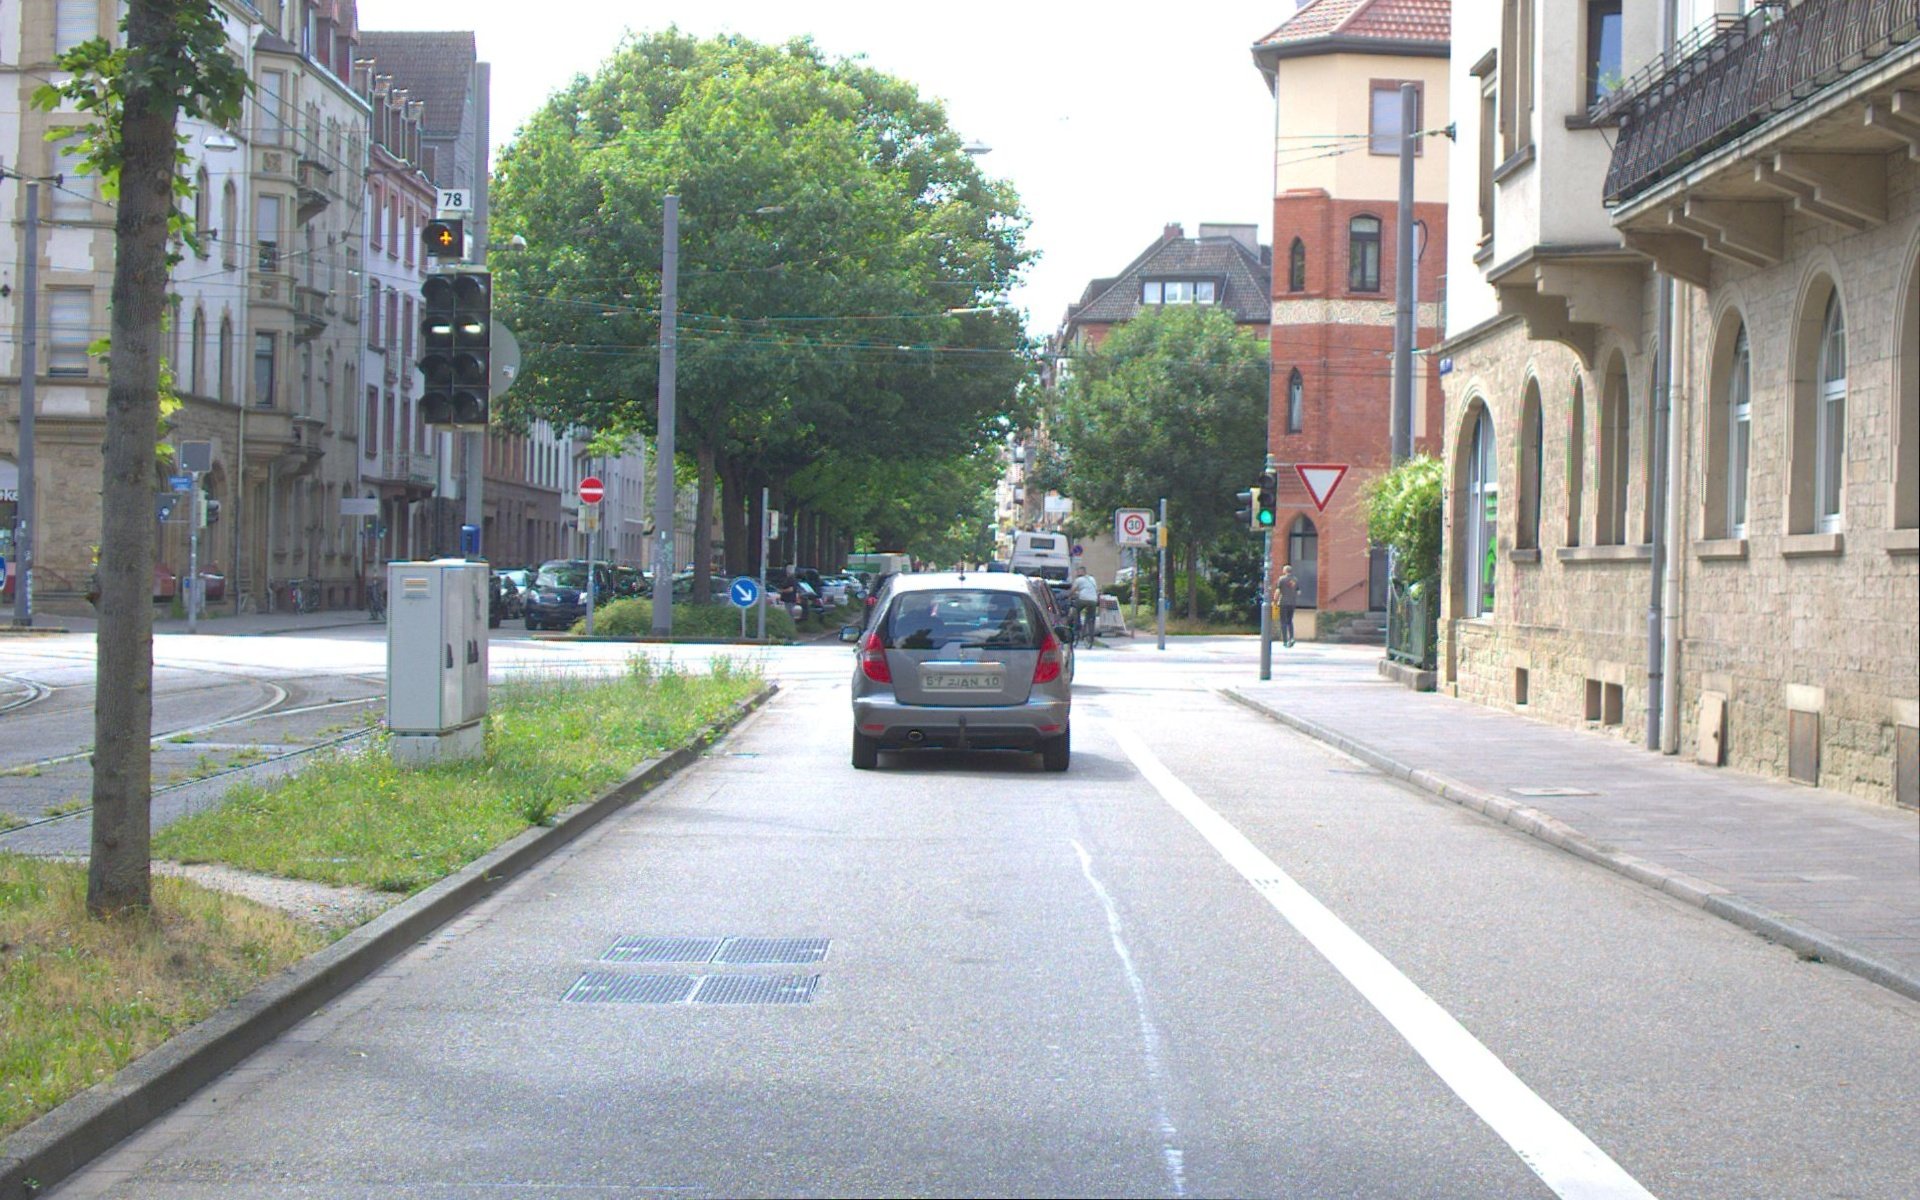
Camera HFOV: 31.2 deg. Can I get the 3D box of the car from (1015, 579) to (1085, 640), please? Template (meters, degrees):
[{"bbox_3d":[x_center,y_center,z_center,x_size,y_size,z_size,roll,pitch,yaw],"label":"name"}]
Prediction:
[{"bbox_3d":[2.500,0.248,94.847,1.752,1.627,3.499,1,0,4],"label":"car"}]

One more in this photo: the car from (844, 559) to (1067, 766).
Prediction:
[{"bbox_3d":[0.001,0.482,28.737,1.722,1.600,3.677,1,0,1],"label":"car"}]

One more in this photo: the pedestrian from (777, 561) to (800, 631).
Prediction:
[{"bbox_3d":[-4.235,-0.099,84.811,0.493,1.719,0.654,1,0,-5],"label":"pedestrian"}]

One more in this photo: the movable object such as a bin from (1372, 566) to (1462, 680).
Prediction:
[{"bbox_3d":[6.343,0.305,47.818,1.050,1.534,2.100,1,0,2],"label":"movable object such as a bin"}]

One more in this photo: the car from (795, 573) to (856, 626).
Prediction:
[{"bbox_3d":[-4.349,-0.024,111.448,1.752,1.627,3.499,1,0,1],"label":"car"}]

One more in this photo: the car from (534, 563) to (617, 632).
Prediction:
[{"bbox_3d":[-9.878,-0.072,88.487,1.993,1.722,4.001,1,0,-5],"label":"car"}]

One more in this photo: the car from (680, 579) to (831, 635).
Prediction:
[{"bbox_3d":[-5.363,0.181,89.697,1.968,1.334,3.999,1,0,-39],"label":"car"}]

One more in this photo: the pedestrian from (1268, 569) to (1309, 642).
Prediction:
[{"bbox_3d":[7.501,0.127,78.524,0.869,1.651,0.736,1,0,5],"label":"pedestrian"}]

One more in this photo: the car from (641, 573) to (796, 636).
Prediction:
[{"bbox_3d":[-6.148,0.109,87.091,1.968,1.489,3.999,1,0,-39],"label":"car"}]

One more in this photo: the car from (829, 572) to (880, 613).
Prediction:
[{"bbox_3d":[-4.032,-0.290,132.132,1.752,1.512,3.499,1,0,1],"label":"car"}]

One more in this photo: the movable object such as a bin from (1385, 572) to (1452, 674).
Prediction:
[{"bbox_3d":[6.665,0.326,49.983,0.714,1.467,0.983,1,0,-8],"label":"movable object such as a bin"}]

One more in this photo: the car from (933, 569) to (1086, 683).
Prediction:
[{"bbox_3d":[0.674,0.325,46.994,1.980,1.437,4.000,1,0,1],"label":"car"}]

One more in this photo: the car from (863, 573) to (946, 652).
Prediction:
[{"bbox_3d":[-1.223,0.264,77.288,1.722,1.700,3.677,1,0,1],"label":"car"}]

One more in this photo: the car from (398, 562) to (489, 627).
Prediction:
[{"bbox_3d":[-13.047,-0.146,87.046,1.993,1.612,4.001,1,0,-5],"label":"car"}]

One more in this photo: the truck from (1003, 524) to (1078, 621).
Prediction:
[{"bbox_3d":[2.546,-0.858,107.925,2.123,2.960,3.999,1,0,4],"label":"truck"}]
